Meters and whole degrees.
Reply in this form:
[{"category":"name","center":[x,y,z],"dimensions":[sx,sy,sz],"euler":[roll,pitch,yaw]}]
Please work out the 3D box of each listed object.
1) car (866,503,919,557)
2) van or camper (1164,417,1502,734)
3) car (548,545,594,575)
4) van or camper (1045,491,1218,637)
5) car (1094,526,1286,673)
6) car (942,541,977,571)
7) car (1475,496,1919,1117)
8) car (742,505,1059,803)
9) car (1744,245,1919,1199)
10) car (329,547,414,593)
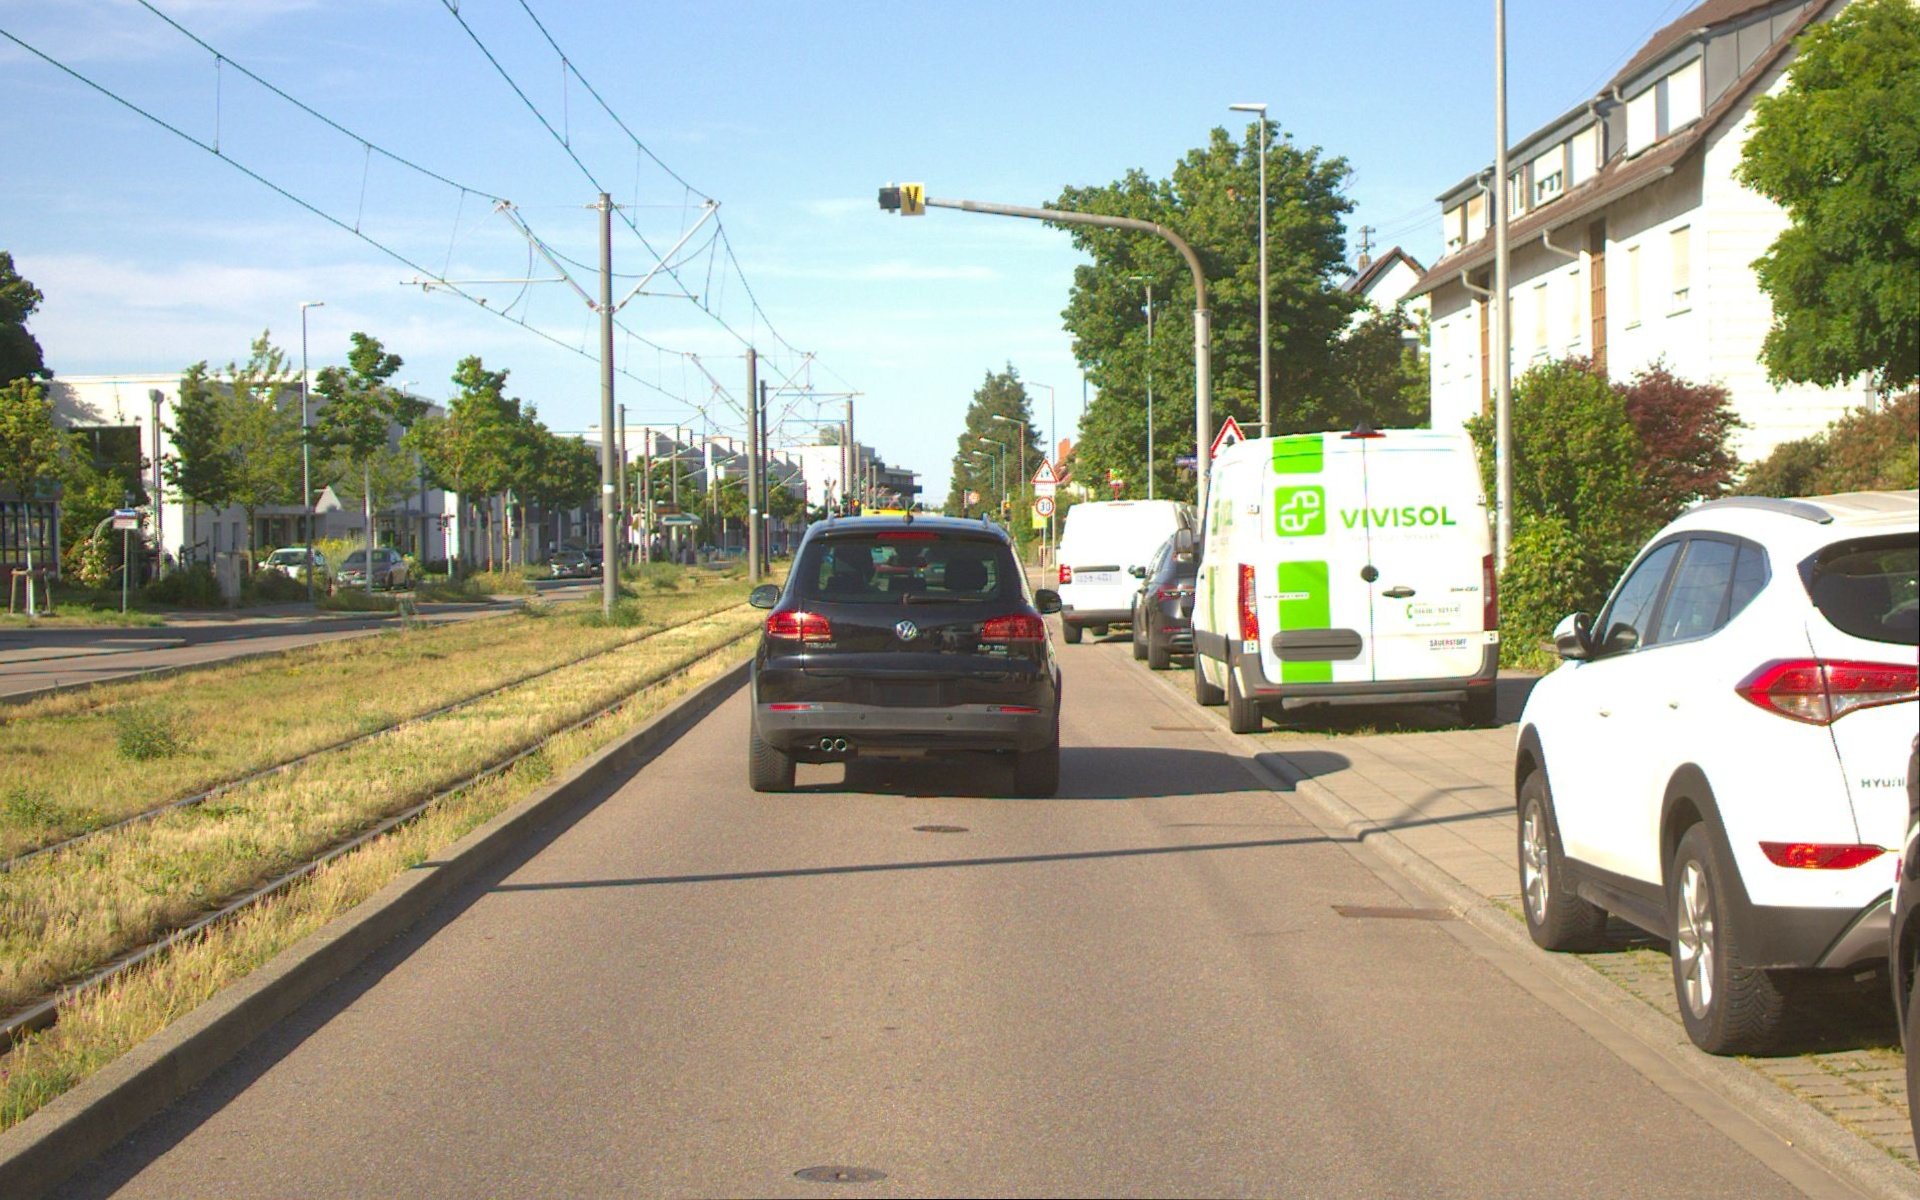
[{"category":"car","center":[-3.249,-3.381,166.046],"dimensions":[2.394,2.556,5.530],"euler":[-1,1,0]},{"category":"van or camper","center":[2.930,-0.224,28.440],"dimensions":[1.993,2.263,6.305],"euler":[-2,1,0]},{"category":"car","center":[-19.292,-1.990,170.633],"dimensions":[1.688,1.384,4.388],"euler":[-2,1,1]},{"category":"van or camper","center":[2.521,-0.558,49.284],"dimensions":[2.028,1.949,5.293],"euler":[-1,1,7]},{"category":"car","center":[2.522,-0.044,38.782],"dimensions":[1.748,1.489,5.155],"euler":[-2,1,0]},{"category":"car","center":[-0.019,-2.477,192.358],"dimensions":[1.775,1.664,4.001],"euler":[-1,1,-2]},{"category":"car","center":[2.932,0.494,11.318],"dimensions":[1.725,1.640,4.319],"euler":[-2,1,-1]},{"category":"car","center":[-0.417,0.279,21.481],"dimensions":[1.775,1.664,4.000],"euler":[1,1,-2]},{"category":"car","center":[3.010,0.324,5.970],"dimensions":[1.959,2.137,5.336],"euler":[-2,1,-1]},{"category":"car","center":[-19.544,-1.011,114.350],"dimensions":[1.811,1.456,4.317],"euler":[1,1,4]}]
